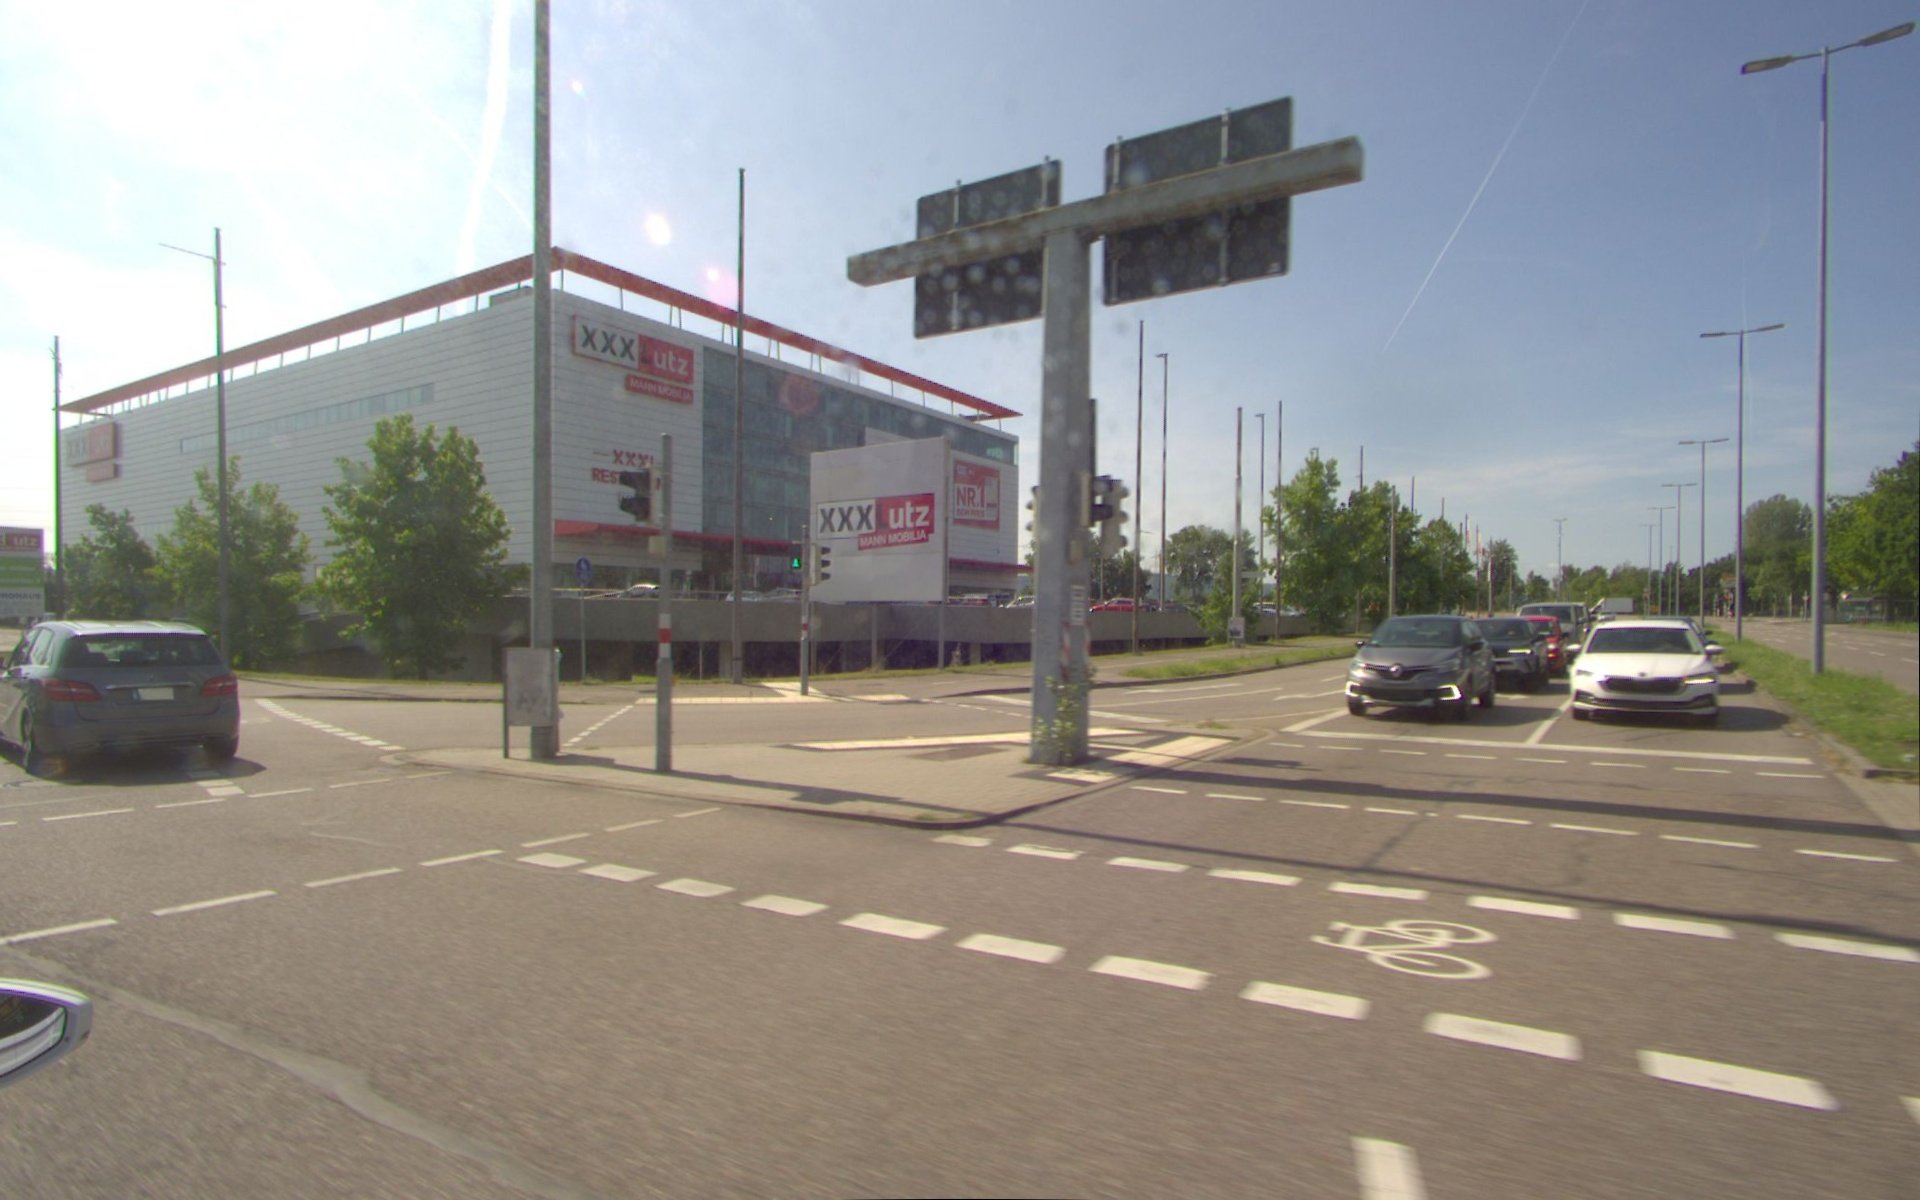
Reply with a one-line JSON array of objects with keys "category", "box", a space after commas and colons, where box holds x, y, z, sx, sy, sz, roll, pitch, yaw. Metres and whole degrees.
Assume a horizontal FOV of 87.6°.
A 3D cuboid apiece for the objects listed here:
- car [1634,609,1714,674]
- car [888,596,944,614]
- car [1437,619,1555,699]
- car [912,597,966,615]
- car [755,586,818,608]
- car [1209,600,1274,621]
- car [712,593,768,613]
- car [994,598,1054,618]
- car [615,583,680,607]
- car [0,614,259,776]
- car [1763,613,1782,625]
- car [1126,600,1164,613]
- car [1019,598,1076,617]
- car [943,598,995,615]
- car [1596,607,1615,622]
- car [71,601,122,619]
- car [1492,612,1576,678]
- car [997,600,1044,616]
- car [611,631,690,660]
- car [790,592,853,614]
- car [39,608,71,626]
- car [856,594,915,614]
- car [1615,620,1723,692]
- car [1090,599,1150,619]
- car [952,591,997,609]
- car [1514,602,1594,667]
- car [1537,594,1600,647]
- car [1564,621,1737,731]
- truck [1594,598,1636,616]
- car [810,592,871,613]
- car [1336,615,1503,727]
[{"category": "car", "box": [19.438, 1.095, 27.225, 1.662, 1.641, 4.104, 0, -1, 36]}, {"category": "car", "box": [-3.488, 0.389, 79.399, 4.141, 1.438, 1.800, 0, -1, 34]}, {"category": "car", "box": [11.773, 1.207, 21.877, 1.882, 1.528, 4.018, -1, -1, 34]}, {"category": "car", "box": [-1.688, 0.474, 81.252, 4.142, 1.438, 1.732, 0, -1, 34]}, {"category": "car", "box": [-11.605, -0.195, 66.957, 3.949, 1.438, 1.796, 0, -1, 32]}, {"category": "car", "box": [20.210, 0.731, 71.893, 4.142, 1.438, 1.680, 0, -1, 34]}, {"category": "car", "box": [-16.055, 0.213, 72.933, 3.856, 1.438, 1.683, 0, -1, 29]}, {"category": "car", "box": [4.711, 0.567, 74.131, 4.142, 1.438, 1.680, 0, -1, 34]}, {"category": "car", "box": [-19.861, -0.316, 63.518, 4.142, 1.438, 1.767, 0, -1, 34]}, {"category": "car", "box": [-9.877, 0.967, 11.676, 4.088, 1.558, 1.767, 0, -2, 40]}, {"category": "car", "box": [108.355, 2.485, 133.510, 1.618, 1.555, 3.894, 0, -1, 34]}, {"category": "car", "box": [22.158, 0.797, 119.992, 4.142, 1.438, 1.680, 0, -1, 34]}, {"category": "car", "box": [6.629, 0.564, 76.032, 3.954, 1.438, 1.735, 0, -1, 35]}, {"category": "car", "box": [0.741, 0.532, 85.747, 4.142, 1.438, 1.785, 0, -1, 34]}, {"category": "car", "box": [77.609, 1.731, 120.434, 1.857, 1.706, 3.977, 0, 1, 33]}, {"category": "car", "box": [-99.718, 1.210, 115.683, 1.752, 1.954, 4.178, 1, -1, 35]}, {"category": "car", "box": [15.182, 1.151, 26.408, 1.577, 1.596, 3.460, 1, -1, 36]}, {"category": "car", "box": [5.628, 0.780, 93.460, 4.052, 1.438, 1.680, 0, -1, 34]}, {"category": "car", "box": [-17.036, 2.518, 55.216, 1.771, 1.542, 4.111, 1, -2, 27]}, {"category": "car", "box": [-9.553, 0.211, 68.887, 4.142, 1.438, 1.828, 0, -1, 34]}, {"category": "car", "box": [-94.821, 1.727, 104.933, 4.039, 1.774, 1.668, 1, -1, 36]}, {"category": "car", "box": [-5.631, 0.271, 75.533, 4.142, 1.438, 1.896, 0, -1, 34]}, {"category": "car", "box": [14.846, 1.122, 21.097, 1.700, 1.359, 4.035, -1, -2, 34]}, {"category": "car", "box": [12.060, 0.665, 75.585, 4.049, 1.438, 1.785, 0, -1, 32]}, {"category": "car", "box": [1.367, 0.001, 96.468, 4.142, 1.642, 1.680, 0, -1, 34]}, {"category": "car", "box": [19.798, 1.109, 33.291, 1.936, 2.001, 4.661, -2, -2, 35]}, {"category": "car", "box": [24.101, 0.828, 39.583, 1.888, 1.960, 4.763, -1, -2, 34]}, {"category": "car", "box": [10.735, 1.058, 15.655, 1.932, 1.444, 4.704, -1, -1, 34]}, {"category": "truck", "box": [113.187, 1.220, 173.069, 5.890, 3.065, 1.992, -1, -3, 31]}, {"category": "car", "box": [-8.564, 0.206, 71.576, 4.142, 1.438, 1.867, 0, -1, 34]}, {"category": "car", "box": [7.596, 1.061, 16.360, 1.784, 1.578, 3.874, 0, -1, 35]}]
